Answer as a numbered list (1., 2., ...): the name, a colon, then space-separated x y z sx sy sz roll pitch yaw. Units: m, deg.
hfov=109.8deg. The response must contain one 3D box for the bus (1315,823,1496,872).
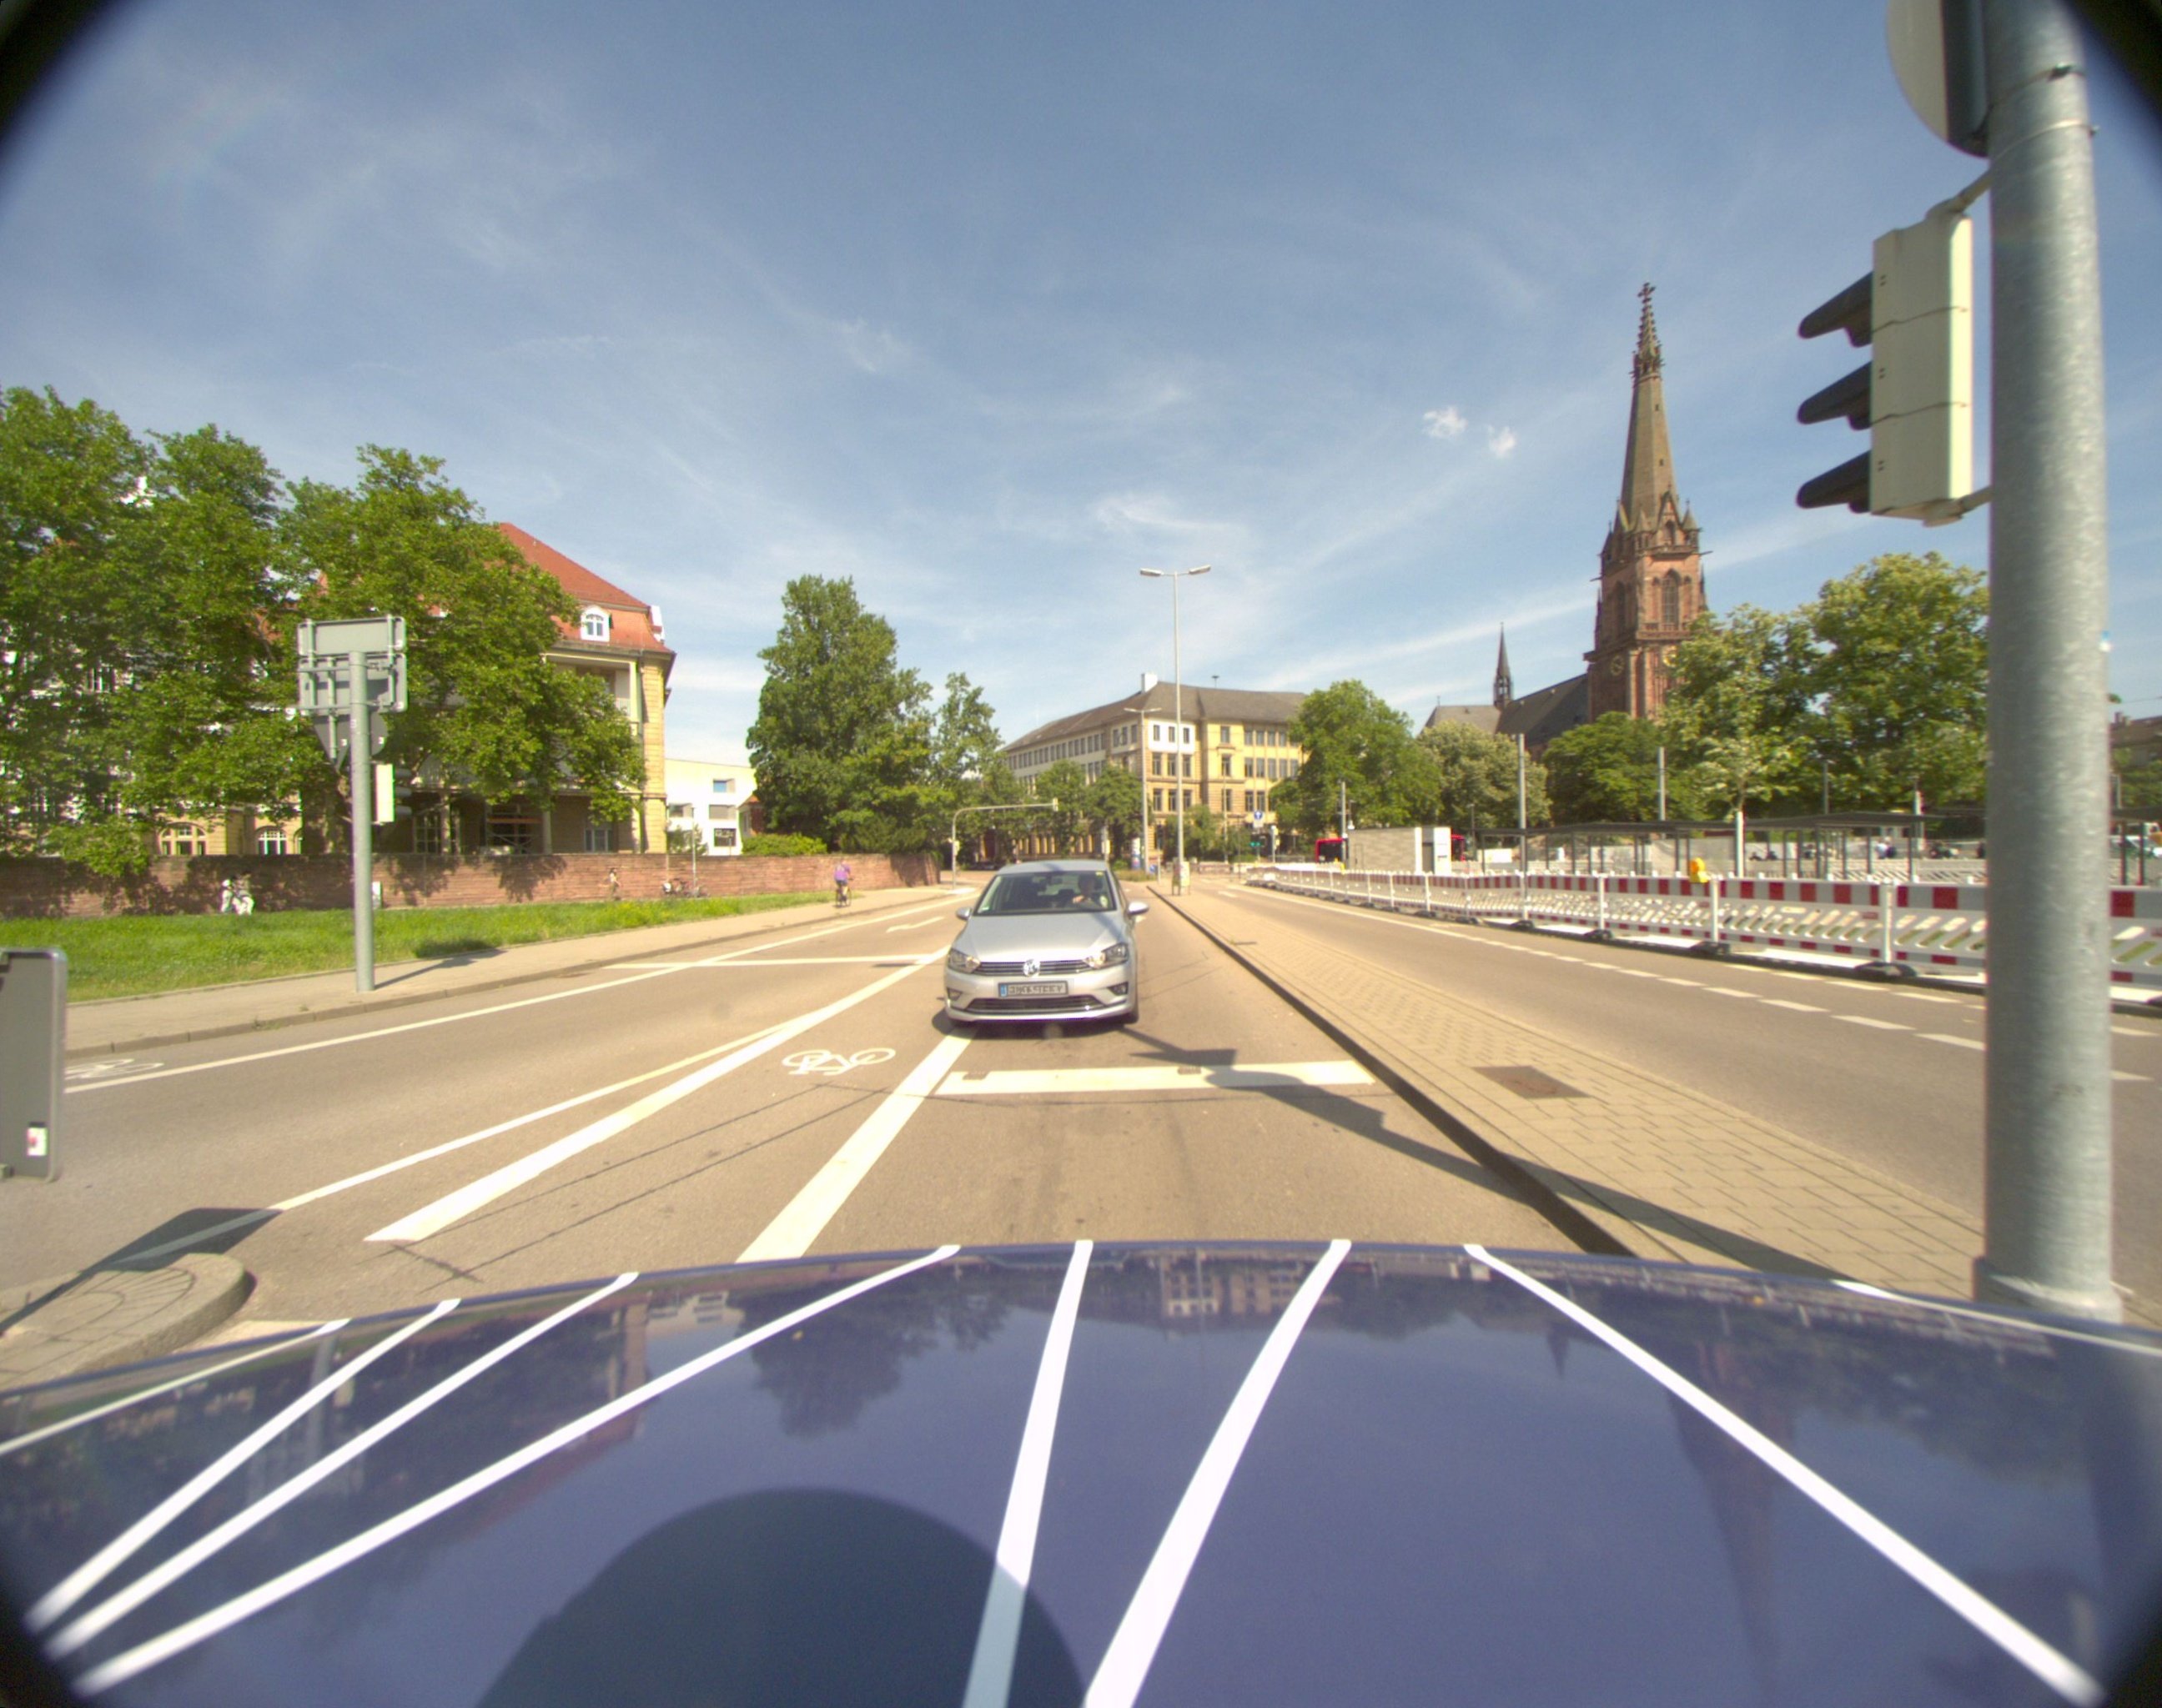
1. bus: 24.802 -0.426 58.806 12.380 3.076 3.139 -3 0 39

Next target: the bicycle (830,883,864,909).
1. bicycle: -8.951 1.603 29.168 0.685 0.882 1.932 -1 0 1

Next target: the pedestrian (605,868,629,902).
1. pedestrian: -21.684 1.448 35.482 0.915 1.539 0.502 -1 1 -34

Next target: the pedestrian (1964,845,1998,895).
1. pedestrian: 36.563 0.651 30.869 0.821 2.002 0.685 -1 1 -23

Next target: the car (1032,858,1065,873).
1. car: -4.418 1.553 102.622 4.006 1.653 1.995 -4 3 -33

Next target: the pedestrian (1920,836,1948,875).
1. pedestrian: 37.183 0.069 33.132 0.743 1.651 0.822 0 1 44

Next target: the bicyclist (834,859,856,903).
1. bicyclist: -9.001 1.004 29.023 0.488 1.627 1.084 -1 1 -1

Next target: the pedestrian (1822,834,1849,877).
1. pedestrian: 35.909 0.059 36.167 0.822 2.002 0.685 -1 1 -28

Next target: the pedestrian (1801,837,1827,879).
1. pedestrian: 35.427 0.185 36.748 0.822 2.002 0.685 -1 1 -28

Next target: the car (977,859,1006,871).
1. car: -13.964 1.682 119.020 4.006 1.653 1.994 -4 3 -33

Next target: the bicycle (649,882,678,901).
1. bicycle: -20.374 1.808 37.086 0.393 0.878 1.230 0 0 22

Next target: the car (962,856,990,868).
1. car: -17.331 1.341 125.207 4.006 1.653 1.995 -4 3 -32

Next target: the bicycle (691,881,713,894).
1. bicycle: -19.203 1.701 38.503 0.274 0.598 0.950 0 0 40

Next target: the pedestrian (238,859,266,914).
1. pedestrian: -30.889 1.194 28.314 0.597 2.002 0.522 -1 1 -39

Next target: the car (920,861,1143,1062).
1. car: -0.245 0.888 8.240 1.687 1.577 4.154 -1 0 6

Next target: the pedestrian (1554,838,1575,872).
1. pedestrian: 28.298 0.055 44.488 0.819 2.002 0.687 -1 1 5

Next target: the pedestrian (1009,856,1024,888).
1. pedestrian: -4.052 1.131 47.555 0.795 2.002 0.615 -1 0 -13

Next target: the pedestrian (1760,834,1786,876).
1. pedestrian: 33.953 0.040 37.274 0.822 2.002 0.685 -1 1 -28
